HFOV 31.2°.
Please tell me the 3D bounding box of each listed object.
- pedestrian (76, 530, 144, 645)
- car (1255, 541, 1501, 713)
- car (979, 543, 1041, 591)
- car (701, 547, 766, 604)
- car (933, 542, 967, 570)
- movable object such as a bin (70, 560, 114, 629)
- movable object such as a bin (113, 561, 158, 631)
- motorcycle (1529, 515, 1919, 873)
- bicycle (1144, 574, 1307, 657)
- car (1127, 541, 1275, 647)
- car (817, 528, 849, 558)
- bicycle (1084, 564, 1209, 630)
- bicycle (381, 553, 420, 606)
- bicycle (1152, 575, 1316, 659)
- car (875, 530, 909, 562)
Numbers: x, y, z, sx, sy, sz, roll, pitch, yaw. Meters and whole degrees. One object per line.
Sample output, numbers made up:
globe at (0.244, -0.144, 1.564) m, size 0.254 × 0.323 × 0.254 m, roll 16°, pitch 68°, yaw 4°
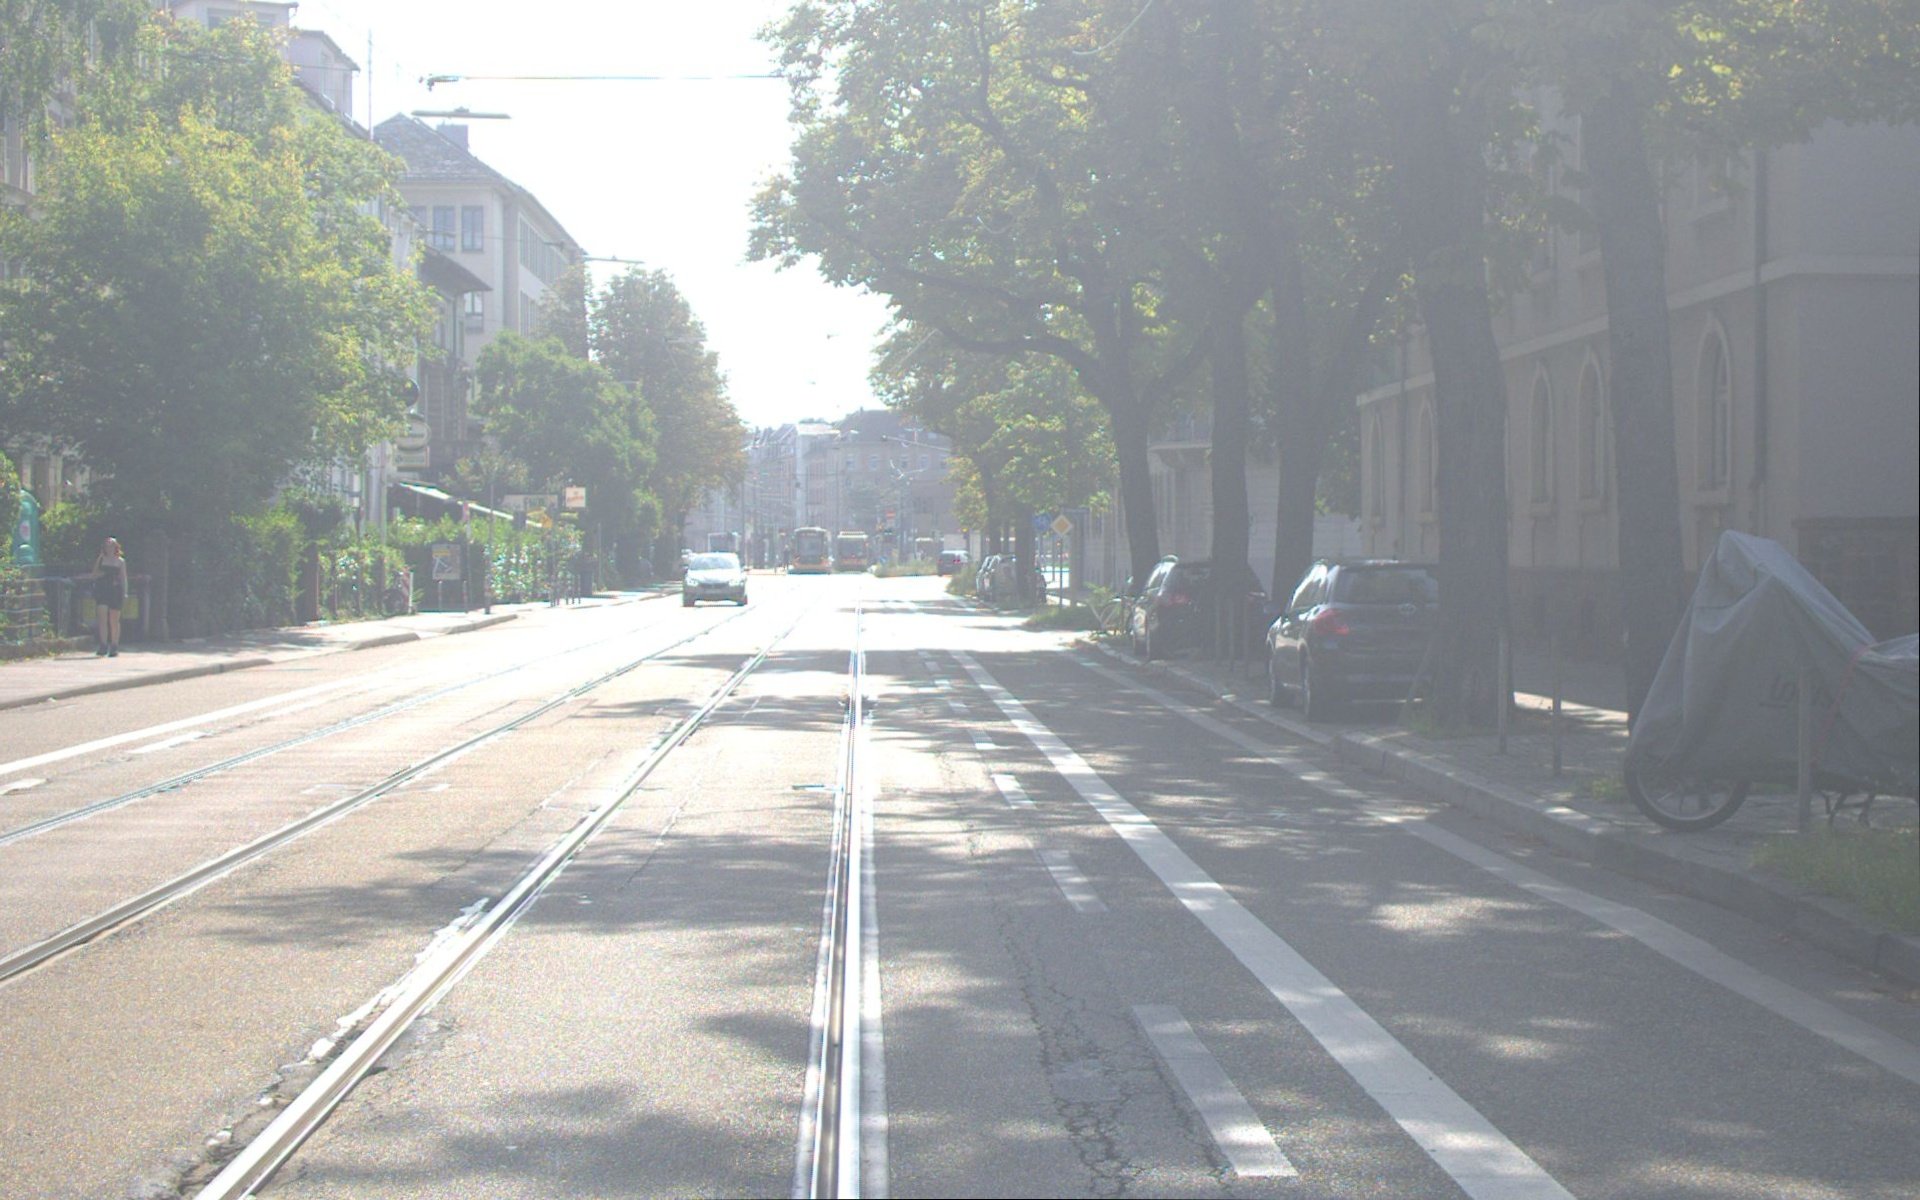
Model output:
pedestrian at (-11.891, -0.182, 48.110) m, size 0.752 × 1.586 × 0.878 m, roll 0°, pitch 1°, yaw -1°
car at (3.932, 0.218, 32.924) m, size 1.726 × 1.499 × 3.985 m, roll -1°, pitch 1°, yaw -2°
car at (1.549, -1.017, 107.263) m, size 1.771 × 1.468 × 3.974 m, roll -1°, pitch 0°, yaw -1°
car at (-6.612, -0.738, 100.637) m, size 1.726 × 1.632 × 3.985 m, roll 0°, pitch 1°, yaw -2°
car at (-0.676, -3.003, 233.608) m, size 1.994 × 1.777 × 4.000 m, roll 2°, pitch 1°, yaw 3°
movable object such as a bin at (-13.619, -0.084, 53.931) m, size 0.589 × 1.074 × 0.705 m, roll 0°, pitch 1°, yaw -8°
movable object such as a bin at (-12.952, -0.065, 54.017) m, size 0.631 × 1.074 × 0.705 m, roll 0°, pitch 1°, yaw -8°
motorcycle at (4.125, 0.433, 17.094) m, size 2.418 × 1.668 × 0.911 m, roll 0°, pitch 2°, yaw 43°
bicycle at (3.572, 0.205, 46.291) m, size 2.106 × 1.101 × 0.563 m, roll 0°, pitch 1°, yaw -8°
car at (3.465, -0.087, 49.943) m, size 1.771 × 1.468 × 3.974 m, roll -1°, pitch 0°, yaw -1°
car at (-9.016, -4.051, 244.192) m, size 1.993 × 2.007 × 4.000 m, roll 2°, pitch 1°, yaw 1°
bicycle at (3.274, -0.049, 60.422) m, size 2.106 × 1.101 × 0.616 m, roll -1°, pitch 1°, yaw -2°
bicycle at (-13.117, -0.492, 80.684) m, size 0.561 × 1.217 × 2.114 m, roll 0°, pitch 1°, yaw 0°
bicycle at (3.644, 0.222, 45.768) m, size 2.106 × 1.101 × 0.563 m, roll 0°, pitch 1°, yaw -8°
car at (-4.471, -3.547, 225.756) m, size 1.993 × 2.007 × 4.000 m, roll 2°, pitch 1°, yaw 2°
